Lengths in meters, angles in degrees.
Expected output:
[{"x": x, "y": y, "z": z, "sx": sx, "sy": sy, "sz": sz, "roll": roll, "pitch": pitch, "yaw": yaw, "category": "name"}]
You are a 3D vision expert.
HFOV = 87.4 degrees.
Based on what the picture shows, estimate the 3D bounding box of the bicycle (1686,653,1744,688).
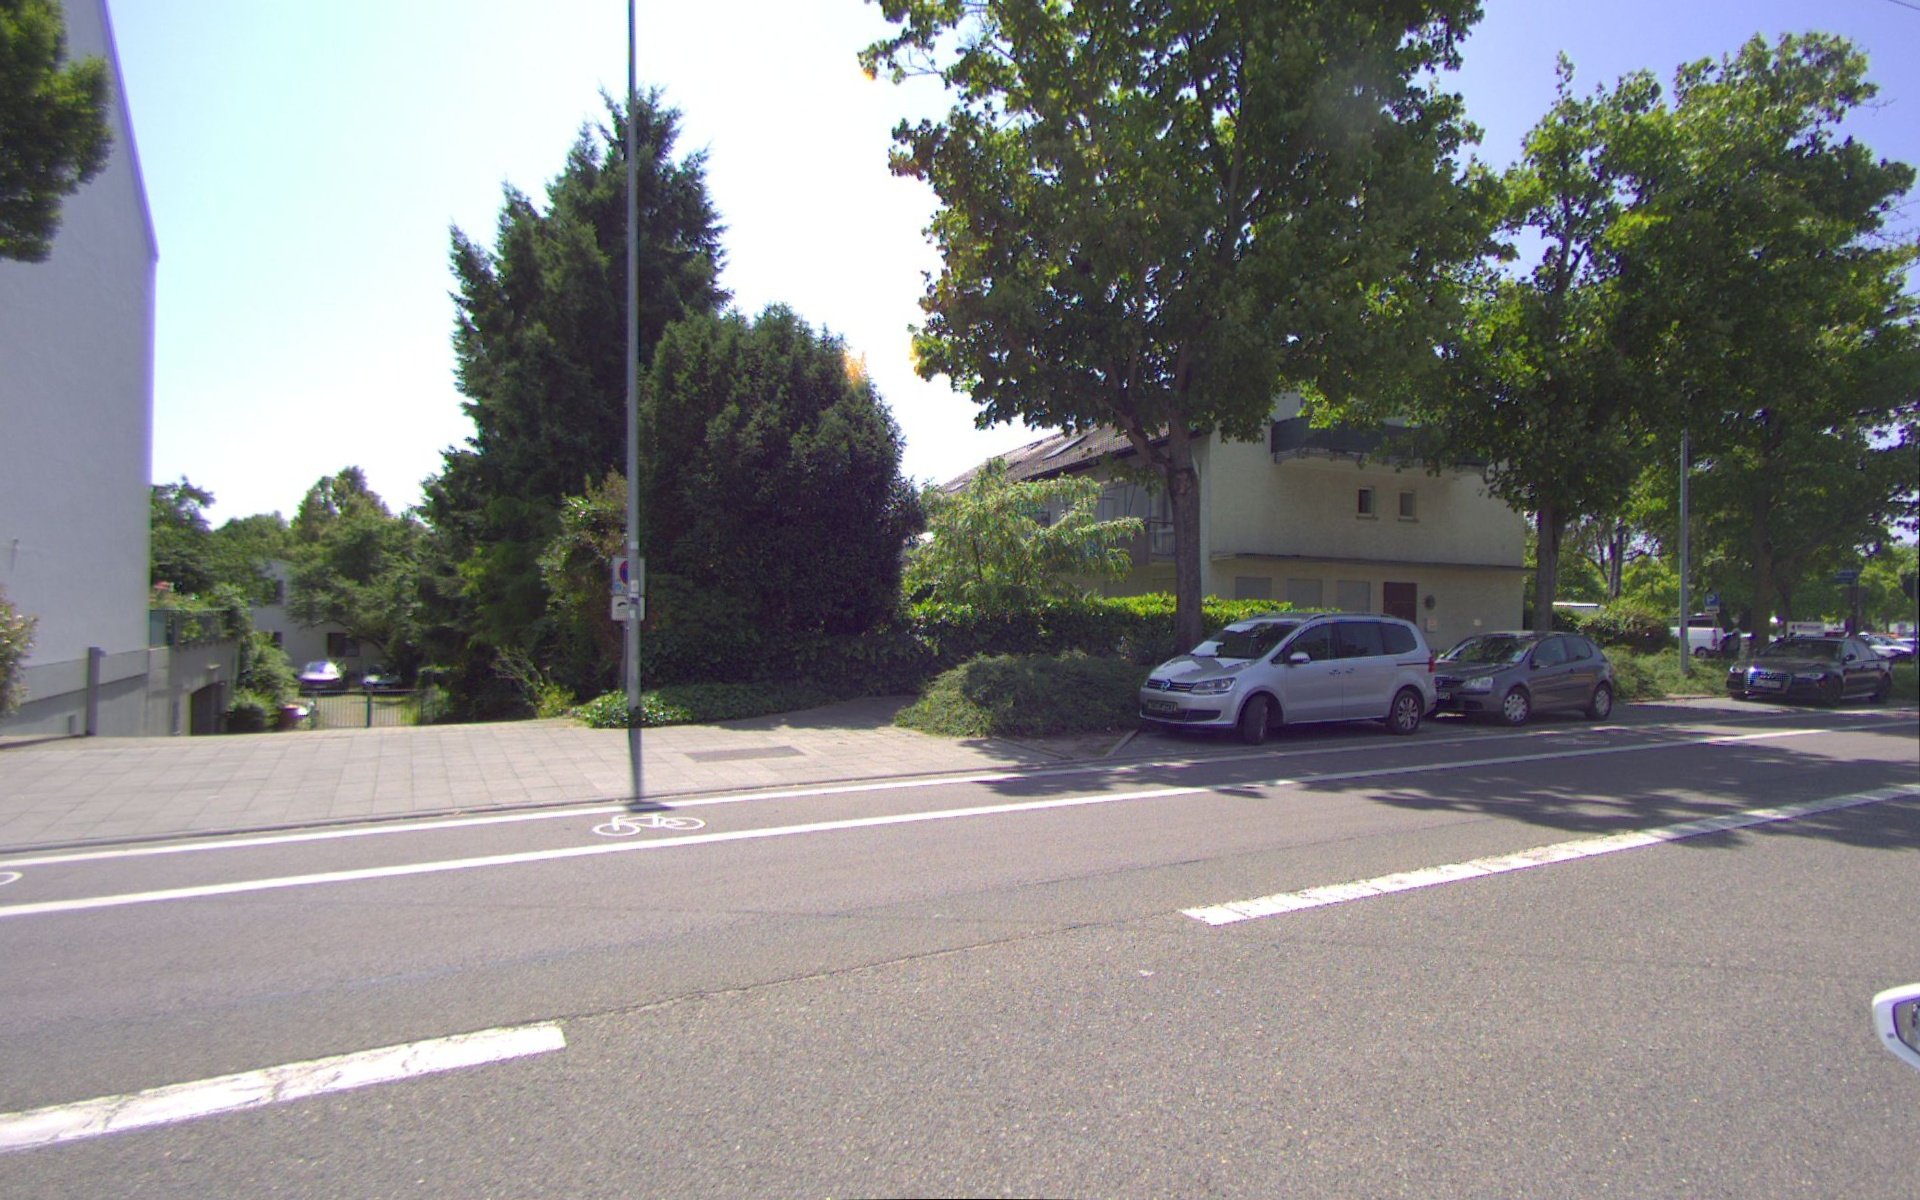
[{"x": 23.783, "y": 2.224, "z": 31.649, "sx": 1.805, "sy": 1.043, "sz": 0.698, "roll": 2, "pitch": 1, "yaw": -27, "category": "bicycle"}]

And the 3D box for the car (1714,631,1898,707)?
[{"x": 19.188, "y": 1.492, "z": 22.737, "sx": 4.397, "sy": 1.496, "sz": 1.809, "roll": 1, "pitch": 1, "yaw": -31, "category": "car"}]

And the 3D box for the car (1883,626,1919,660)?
[{"x": 51.866, "y": 2.283, "z": 53.235, "sx": 1.975, "sy": 1.769, "sz": 3.968, "roll": 1, "pitch": -2, "yaw": -30, "category": "car"}]

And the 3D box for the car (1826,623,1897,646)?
[{"x": 75.106, "y": 2.873, "z": 83.756, "sx": 1.795, "sy": 1.638, "sz": 4.000, "roll": 2, "pitch": 0, "yaw": -30, "category": "car"}]

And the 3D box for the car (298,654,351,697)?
[{"x": -31.492, "y": 3.706, "z": 49.836, "sx": 1.977, "sy": 1.740, "sz": 3.968, "roll": 2, "pitch": 0, "yaw": -30, "category": "car"}]

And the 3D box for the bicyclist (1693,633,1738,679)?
[{"x": 23.815, "y": 1.765, "z": 31.660, "sx": 0.817, "sy": 1.392, "sz": 0.806, "roll": 2, "pitch": 1, "yaw": -27, "category": "bicyclist"}]

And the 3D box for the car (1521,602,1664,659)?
[{"x": 37.475, "y": 1.752, "z": 59.782, "sx": 2.337, "sy": 3.005, "sz": 6.817, "roll": 2, "pitch": 1, "yaw": -30, "category": "car"}]

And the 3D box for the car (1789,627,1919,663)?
[{"x": 42.580, "y": 2.125, "z": 47.889, "sx": 1.886, "sy": 1.606, "sz": 4.333, "roll": 1, "pitch": -1, "yaw": -23, "category": "car"}]

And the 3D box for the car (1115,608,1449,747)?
[{"x": 4.650, "y": 0.991, "z": 14.312, "sx": 4.725, "sy": 1.687, "sz": 1.864, "roll": 1, "pitch": 0, "yaw": -30, "category": "car"}]

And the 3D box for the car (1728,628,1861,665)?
[{"x": 38.135, "y": 2.094, "z": 46.000, "sx": 1.891, "sy": 1.606, "sz": 4.321, "roll": 1, "pitch": -2, "yaw": -31, "category": "car"}]

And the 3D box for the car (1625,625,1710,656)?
[{"x": 44.270, "y": 2.530, "z": 62.885, "sx": 1.799, "sy": 1.675, "sz": 3.957, "roll": 2, "pitch": 1, "yaw": -37, "category": "car"}]

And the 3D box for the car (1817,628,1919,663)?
[{"x": 45.035, "y": 2.179, "z": 49.189, "sx": 1.885, "sy": 1.606, "sz": 4.334, "roll": 1, "pitch": -1, "yaw": -23, "category": "car"}]

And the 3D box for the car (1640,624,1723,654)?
[{"x": 46.119, "y": 2.472, "z": 64.284, "sx": 1.799, "sy": 1.675, "sz": 3.957, "roll": 2, "pitch": 1, "yaw": -37, "category": "car"}]

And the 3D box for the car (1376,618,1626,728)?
[{"x": 9.162, "y": 1.152, "z": 16.949, "sx": 4.132, "sy": 1.585, "sz": 1.809, "roll": 1, "pitch": 1, "yaw": -31, "category": "car"}]

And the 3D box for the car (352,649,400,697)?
[{"x": -29.438, "y": 3.643, "z": 50.706, "sx": 1.977, "sy": 2.040, "sz": 3.968, "roll": 2, "pitch": 1, "yaw": -30, "category": "car"}]

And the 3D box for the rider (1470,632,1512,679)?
[{"x": 16.013, "y": 1.674, "z": 30.306, "sx": 0.800, "sy": 1.392, "sz": 0.824, "roll": 1, "pitch": -1, "yaw": -21, "category": "rider"}]
